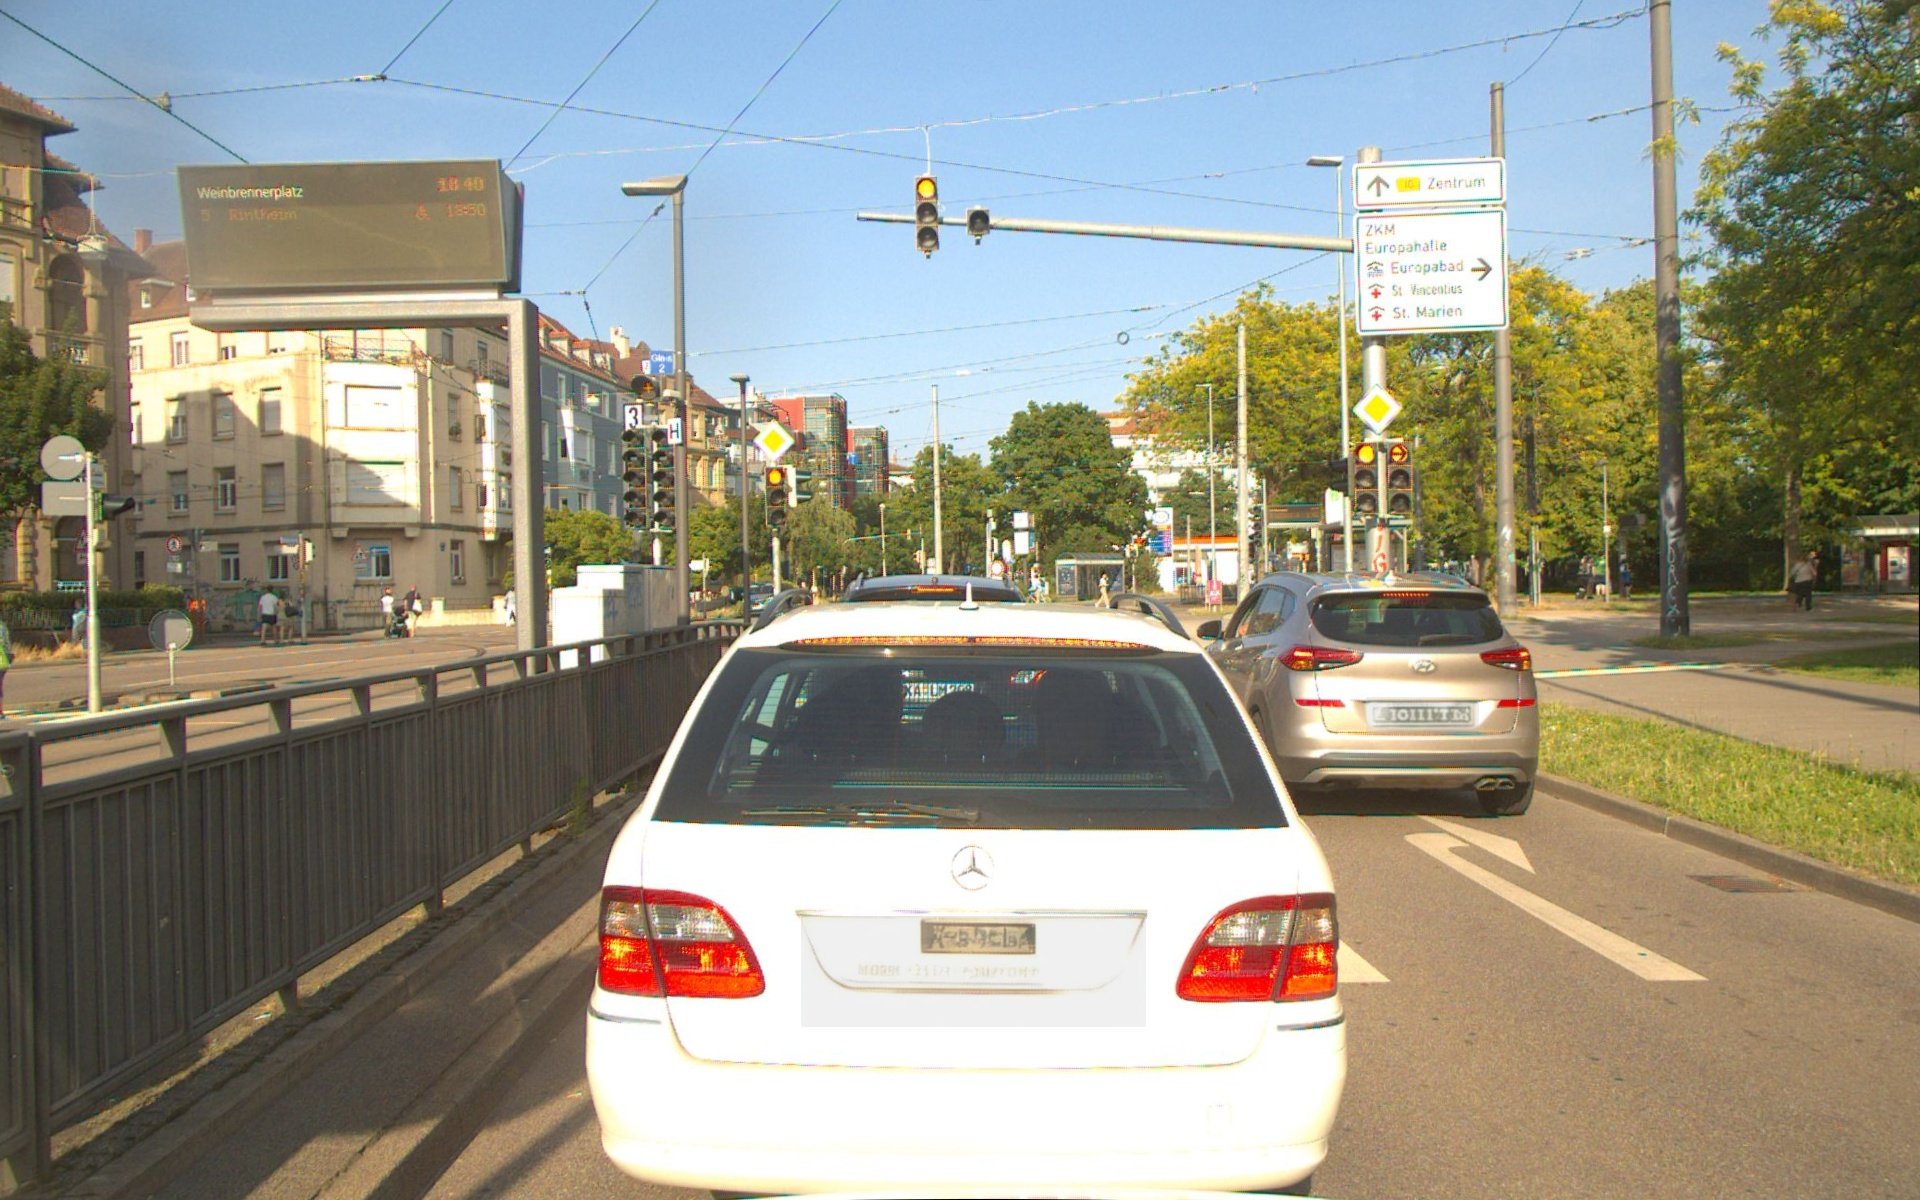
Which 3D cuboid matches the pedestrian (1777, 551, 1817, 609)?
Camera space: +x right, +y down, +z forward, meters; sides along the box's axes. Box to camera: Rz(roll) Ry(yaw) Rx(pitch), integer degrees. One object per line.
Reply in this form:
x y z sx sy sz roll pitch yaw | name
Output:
24.367 -0.574 48.167 0.748 1.665 0.797 -2 0 -40 | pedestrian

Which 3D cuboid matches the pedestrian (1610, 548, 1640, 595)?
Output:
25.886 -1.114 64.407 0.784 1.816 0.838 -1 0 -5 | pedestrian

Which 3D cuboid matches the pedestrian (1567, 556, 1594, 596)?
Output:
24.060 -0.919 64.127 0.809 1.513 0.690 -2 0 -42 | pedestrian

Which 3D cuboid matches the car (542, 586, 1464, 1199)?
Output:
0.050 0.710 4.983 1.759 1.496 3.647 0 0 -1 | car

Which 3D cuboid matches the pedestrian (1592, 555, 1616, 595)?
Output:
24.608 -0.965 63.232 0.797 1.513 0.700 -1 0 24 | pedestrian

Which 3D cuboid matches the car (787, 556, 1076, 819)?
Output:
-0.203 0.555 12.560 1.846 1.680 3.647 1 0 -1 | car

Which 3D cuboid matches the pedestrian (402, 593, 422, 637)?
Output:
-19.505 0.529 58.862 0.428 1.527 0.549 -1 0 14 | pedestrian

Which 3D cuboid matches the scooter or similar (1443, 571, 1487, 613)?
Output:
13.935 -0.210 45.670 0.413 1.136 1.322 -1 0 -20 | scooter or similar

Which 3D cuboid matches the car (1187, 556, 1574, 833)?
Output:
2.884 0.576 12.175 1.846 1.680 3.647 -2 0 -1 | car

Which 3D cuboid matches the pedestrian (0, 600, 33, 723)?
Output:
-12.961 0.829 22.262 0.601 1.627 0.632 -1 0 -7 | pedestrian

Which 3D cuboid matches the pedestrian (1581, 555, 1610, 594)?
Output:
24.868 -0.984 64.747 0.799 1.513 0.699 -1 0 -12 | pedestrian

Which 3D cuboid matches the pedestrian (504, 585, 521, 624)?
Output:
-19.313 0.198 71.346 0.610 1.689 0.582 -1 0 -20 | pedestrian

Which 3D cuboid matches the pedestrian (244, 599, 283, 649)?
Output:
-22.186 0.762 52.696 0.812 1.579 0.782 -1 0 21 | pedestrian

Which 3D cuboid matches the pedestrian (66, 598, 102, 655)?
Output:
-24.524 0.744 46.313 0.616 1.568 0.711 -1 0 -1 | pedestrian

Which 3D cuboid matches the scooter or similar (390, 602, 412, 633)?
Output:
-20.167 0.642 59.677 0.532 1.098 0.683 1 0 -1 | scooter or similar

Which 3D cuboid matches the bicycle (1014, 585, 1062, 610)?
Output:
4.137 -0.126 87.577 2.430 1.234 0.807 -1 0 7 | bicycle

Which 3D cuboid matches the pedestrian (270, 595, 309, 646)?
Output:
-21.297 0.638 52.563 0.812 1.579 0.782 -1 0 21 | pedestrian

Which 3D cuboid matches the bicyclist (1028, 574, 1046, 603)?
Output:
4.096 -0.602 87.597 0.842 1.507 0.790 -1 0 8 | bicyclist

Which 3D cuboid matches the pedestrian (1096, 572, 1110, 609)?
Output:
7.277 -0.496 84.243 0.628 1.889 0.552 -1 0 11 | pedestrian

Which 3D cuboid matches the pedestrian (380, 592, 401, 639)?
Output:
-20.246 0.545 58.830 0.497 1.654 0.608 -1 0 0 | pedestrian

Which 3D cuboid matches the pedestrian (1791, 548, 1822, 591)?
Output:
33.383 -1.208 65.267 0.818 1.665 0.803 -1 0 5 | pedestrian
